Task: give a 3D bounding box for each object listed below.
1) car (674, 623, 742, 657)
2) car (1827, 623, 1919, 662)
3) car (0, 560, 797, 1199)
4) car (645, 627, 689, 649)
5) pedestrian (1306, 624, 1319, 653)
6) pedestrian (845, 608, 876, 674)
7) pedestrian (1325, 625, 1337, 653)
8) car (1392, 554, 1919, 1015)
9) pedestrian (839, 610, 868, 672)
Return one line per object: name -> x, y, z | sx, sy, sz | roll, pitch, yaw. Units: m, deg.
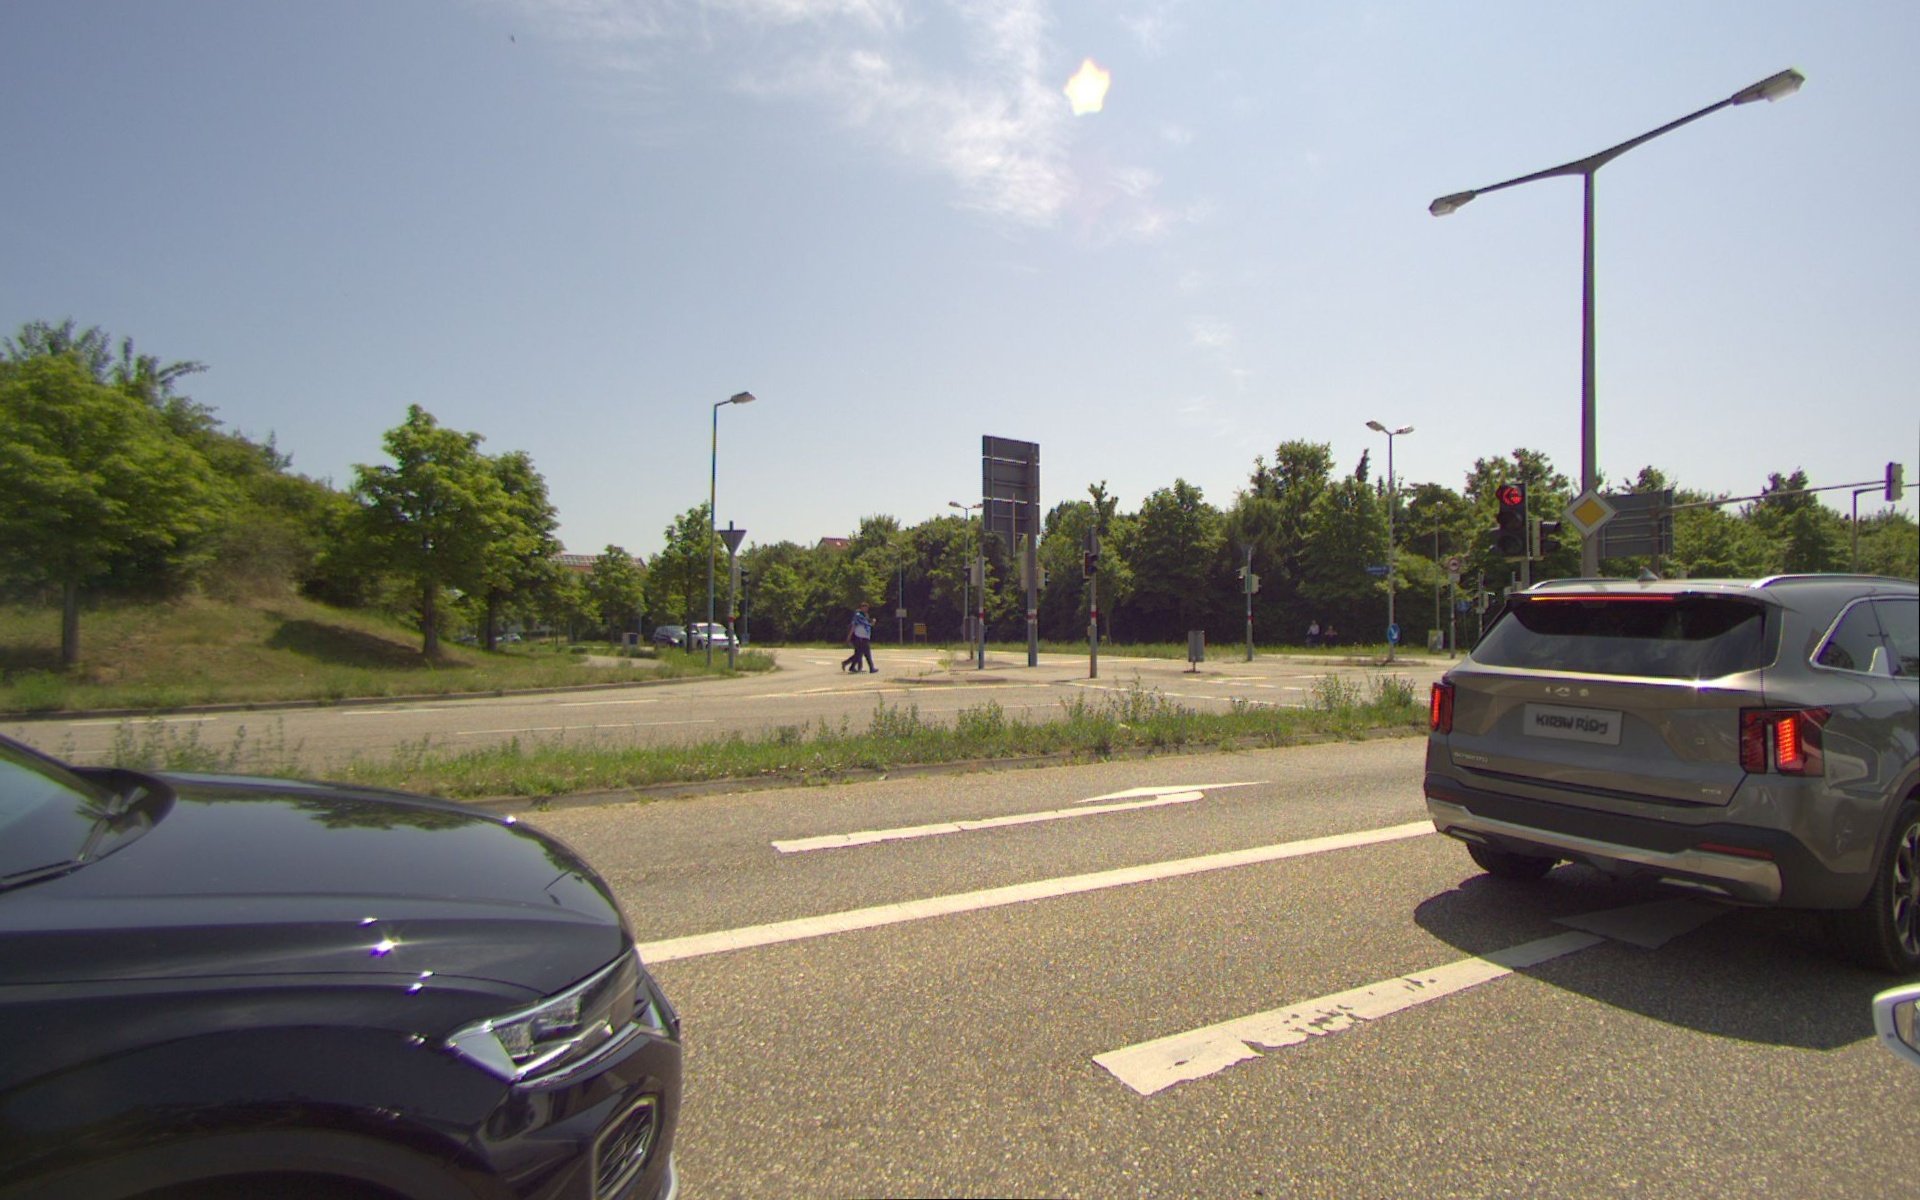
car -> -12.489, 1.957, 49.665 | 1.860, 1.522, 4.269 | -2, -1, -34
car -> 36.452, 1.641, 39.900 | 4.119, 1.475, 1.814 | 1, -1, -30
car -> -2.405, 0.684, 1.436 | 3.924, 1.532, 1.726 | 2, 0, -30
car -> -18.979, 2.444, 64.912 | 1.685, 1.353, 3.964 | 1, -2, -33
pedestrian -> 19.735, 2.164, 56.245 | 0.606, 1.624, 0.798 | -1, -1, 24
pedestrian -> -2.717, 1.106, 27.355 | 0.779, 1.759, 0.582 | 0, -1, -11
pedestrian -> 20.602, 2.168, 55.791 | 0.606, 1.523, 0.798 | 0, -1, 24
car -> 4.672, 0.734, 5.628 | 4.590, 1.684, 1.795 | 1, -1, -30
pedestrian -> -3.009, 1.145, 28.401 | 0.761, 1.722, 0.723 | 0, -1, -11
